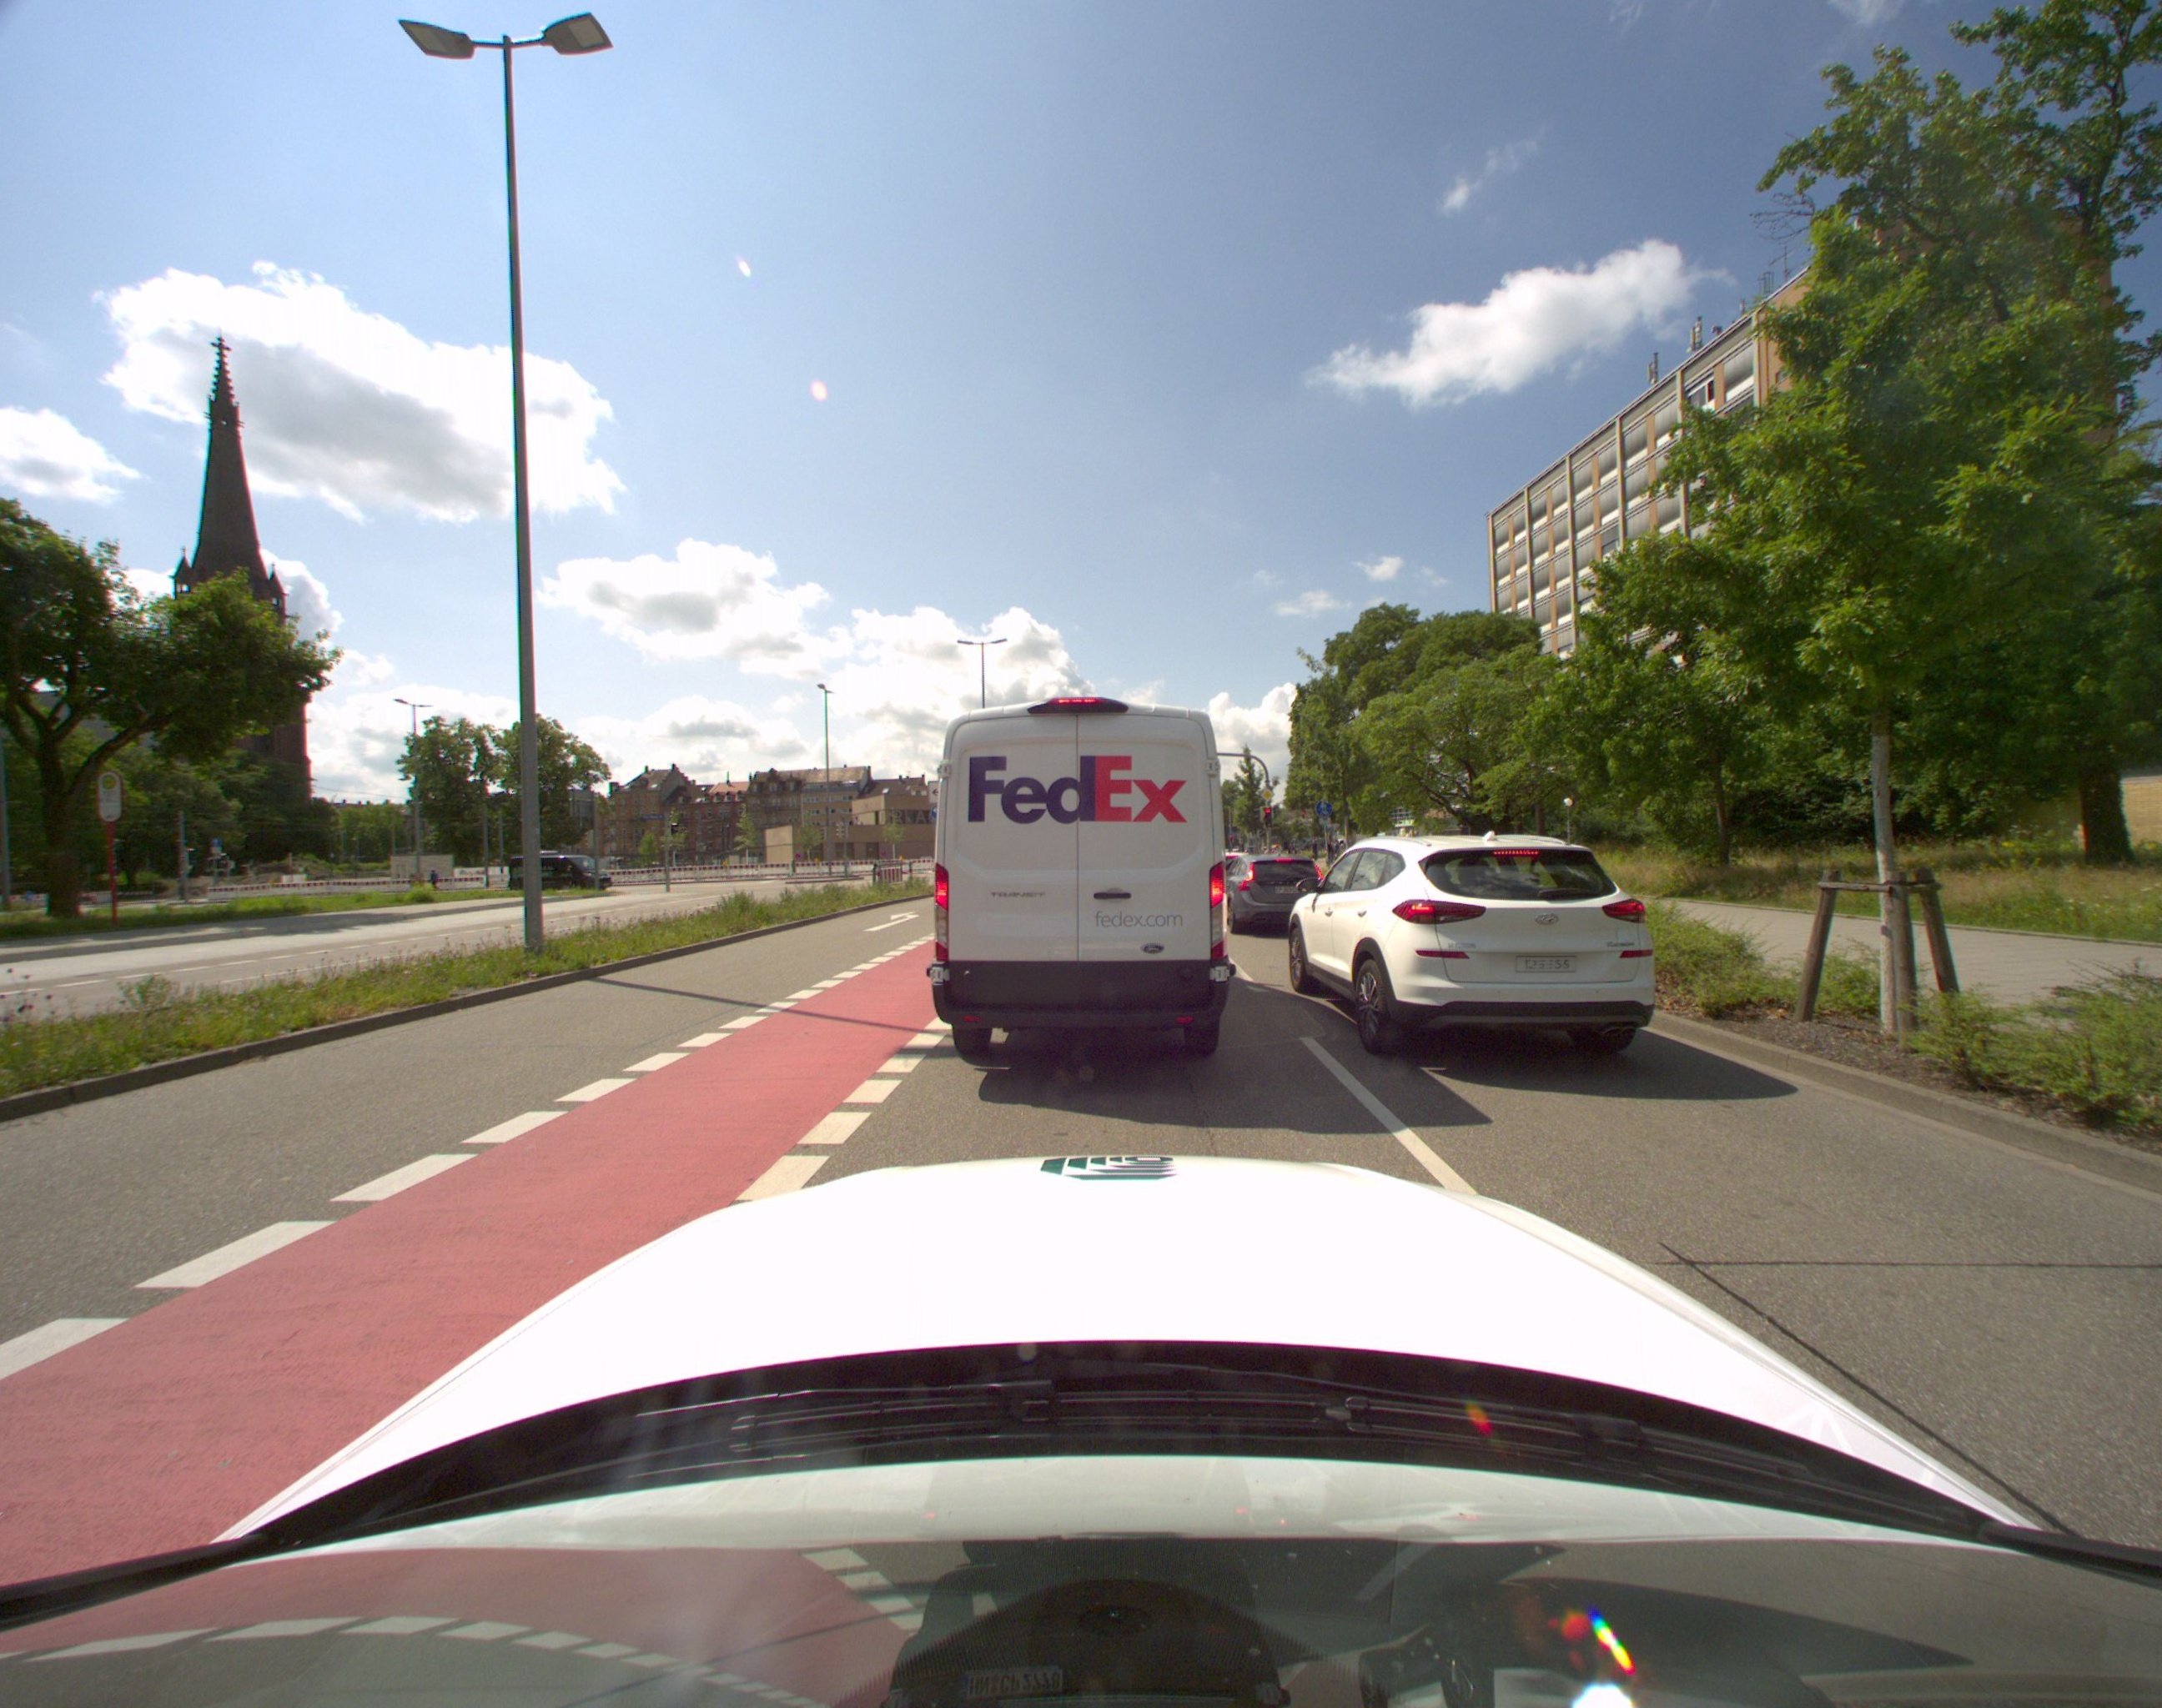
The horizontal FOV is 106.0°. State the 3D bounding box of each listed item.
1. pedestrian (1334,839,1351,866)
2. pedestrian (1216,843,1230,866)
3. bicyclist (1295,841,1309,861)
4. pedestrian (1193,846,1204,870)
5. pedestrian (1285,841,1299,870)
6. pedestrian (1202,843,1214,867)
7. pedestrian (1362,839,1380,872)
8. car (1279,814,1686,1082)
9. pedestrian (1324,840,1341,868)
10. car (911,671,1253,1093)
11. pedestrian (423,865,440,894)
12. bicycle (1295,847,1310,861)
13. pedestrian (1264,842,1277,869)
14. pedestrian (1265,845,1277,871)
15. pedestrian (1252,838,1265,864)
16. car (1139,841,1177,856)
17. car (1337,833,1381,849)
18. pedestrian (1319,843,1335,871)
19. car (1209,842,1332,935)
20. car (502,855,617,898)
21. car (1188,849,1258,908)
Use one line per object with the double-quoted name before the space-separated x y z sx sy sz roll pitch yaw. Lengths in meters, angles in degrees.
"pedestrian" 17.900 -0.105 55.743 0.758 1.849 0.814 -2 0 -6
"pedestrian" 11.587 0.068 66.348 0.766 1.849 0.806 -2 0 -45
"bicyclist" 25.446 -0.351 93.612 1.421 2.171 1.345 -2 0 17
"pedestrian" 9.267 0.283 64.470 0.755 1.849 0.817 -2 0 3
"pedestrian" 13.978 0.086 53.942 0.752 1.849 0.820 -2 0 20
"pedestrian" 9.822 0.075 63.053 0.756 1.849 0.816 -2 0 -1
"pedestrian" 16.879 0.081 47.338 0.755 1.849 0.817 -2 0 5
"car" 3.061 0.594 7.228 1.807 1.678 3.978 -2 0 3
"pedestrian" 17.071 -0.010 55.290 0.758 1.849 0.814 -2 0 -8
"car" 0.131 0.169 7.298 2.064 2.581 4.432 -2 0 3
"pedestrian" -45.553 1.760 57.128 0.644 2.013 0.632 -2 0 -1
"bicycle" 25.428 0.011 93.492 1.414 1.464 4.330 -2 0 17
"pedestrian" 13.156 0.093 56.529 0.752 1.849 0.820 -2 0 20
"pedestrian" 13.719 0.305 58.873 0.753 1.849 0.820 -2 0 16
"pedestrian" 13.001 -0.226 59.756 0.810 1.849 0.762 -2 0 5
"car" 14.671 -1.046 154.818 7.023 2.717 2.501 0 -1 7
"car" 49.030 -2.234 143.720 7.065 2.717 2.486 0 -1 -12
"pedestrian" 15.318 0.180 50.751 0.755 1.655 0.817 -2 0 5
"car" 3.553 0.577 15.871 1.684 1.549 3.724 -2 0 3
"car" -29.035 1.224 45.442 4.984 2.175 2.155 -2 0 1
"car" 3.869 0.616 22.644 1.493 1.464 3.477 -2 0 3
